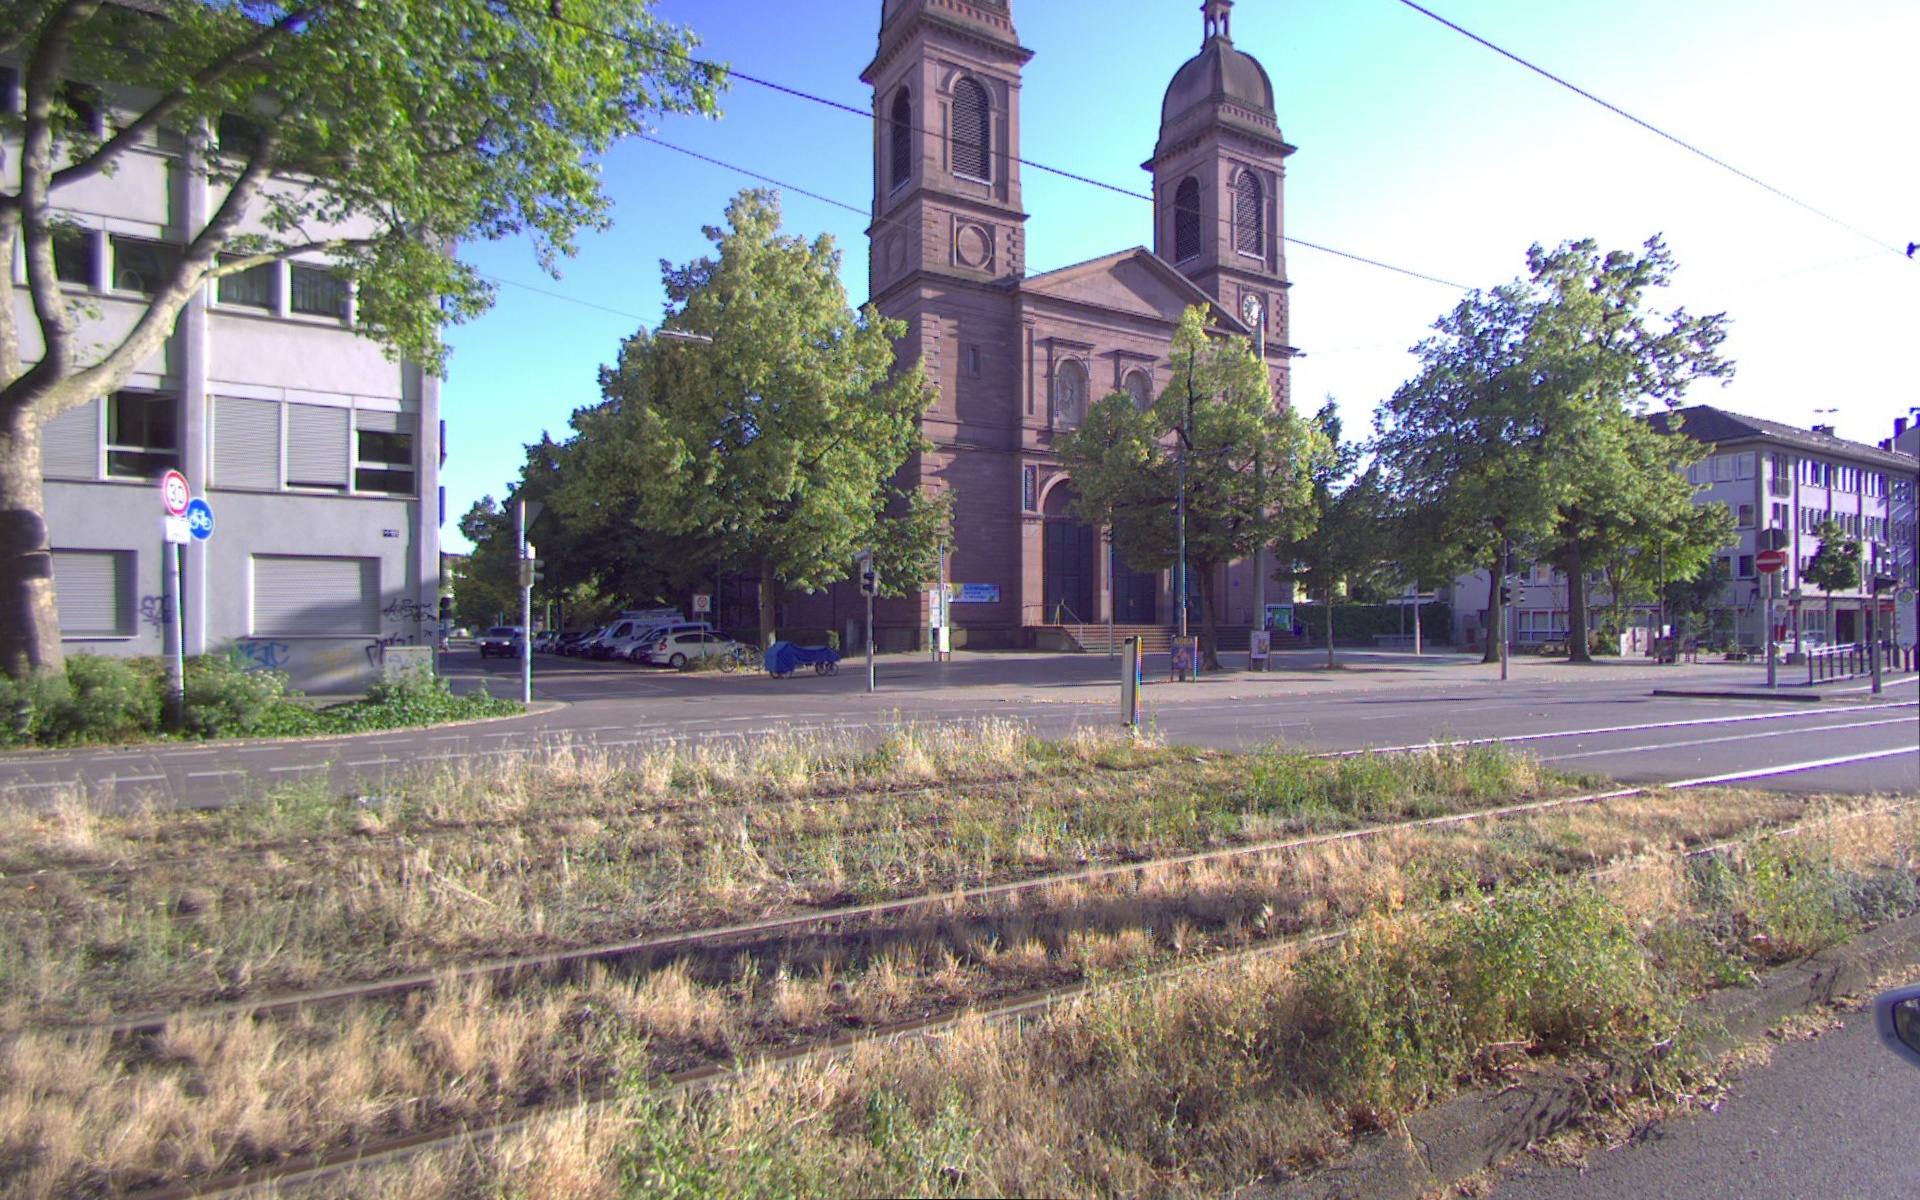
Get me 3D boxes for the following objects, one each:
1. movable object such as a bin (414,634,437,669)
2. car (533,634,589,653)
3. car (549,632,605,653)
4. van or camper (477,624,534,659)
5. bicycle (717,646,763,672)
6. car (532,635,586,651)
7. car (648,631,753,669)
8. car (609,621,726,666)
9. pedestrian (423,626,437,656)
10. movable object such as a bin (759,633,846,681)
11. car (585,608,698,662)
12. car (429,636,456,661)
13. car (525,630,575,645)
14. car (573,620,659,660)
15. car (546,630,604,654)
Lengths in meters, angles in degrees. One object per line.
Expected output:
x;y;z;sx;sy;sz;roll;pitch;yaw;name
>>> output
-21.063;2.017;39.555;0.737;1.323;0.865;1;-1;-32;movable object such as a bin
-29.693;3.210;74.745;3.667;1.303;1.662;1;-1;-30;car
-27.882;3.062;73.135;3.667;1.464;1.662;1;-1;-30;car
-28.345;2.558;62.852;1.964;2.040;5.127;0;-1;-9;van or camper
-7.828;2.086;35.688;1.517;0.904;0.465;1;1;-27;bicycle
-30.879;3.293;77.302;3.667;1.222;1.662;1;-1;-30;car
-10.981;2.089;42.553;3.953;1.479;1.984;1;0;-30;car
-14.266;2.080;49.053;5.120;2.040;1.981;1;1;-34;car
-30.905;2.387;58.566;0.681;1.774;0.637;1;-1;-32;pedestrian
-4.929;1.756;31.431;2.416;1.228;1.102;-3;3;-30;movable object such as a bin
-17.031;1.859;53.850;5.381;2.710;1.980;1;1;-36;car
-44.438;4.123;86.271;1.976;2.040;3.970;1;-1;-29;car
-34.457;3.177;84.416;3.667;1.222;1.662;1;-1;-30;car
-19.155;2.206;56.013;4.174;2.040;1.981;1;1;-33;car
-27.221;2.947;71.059;3.667;1.692;1.662;1;-1;-30;car
